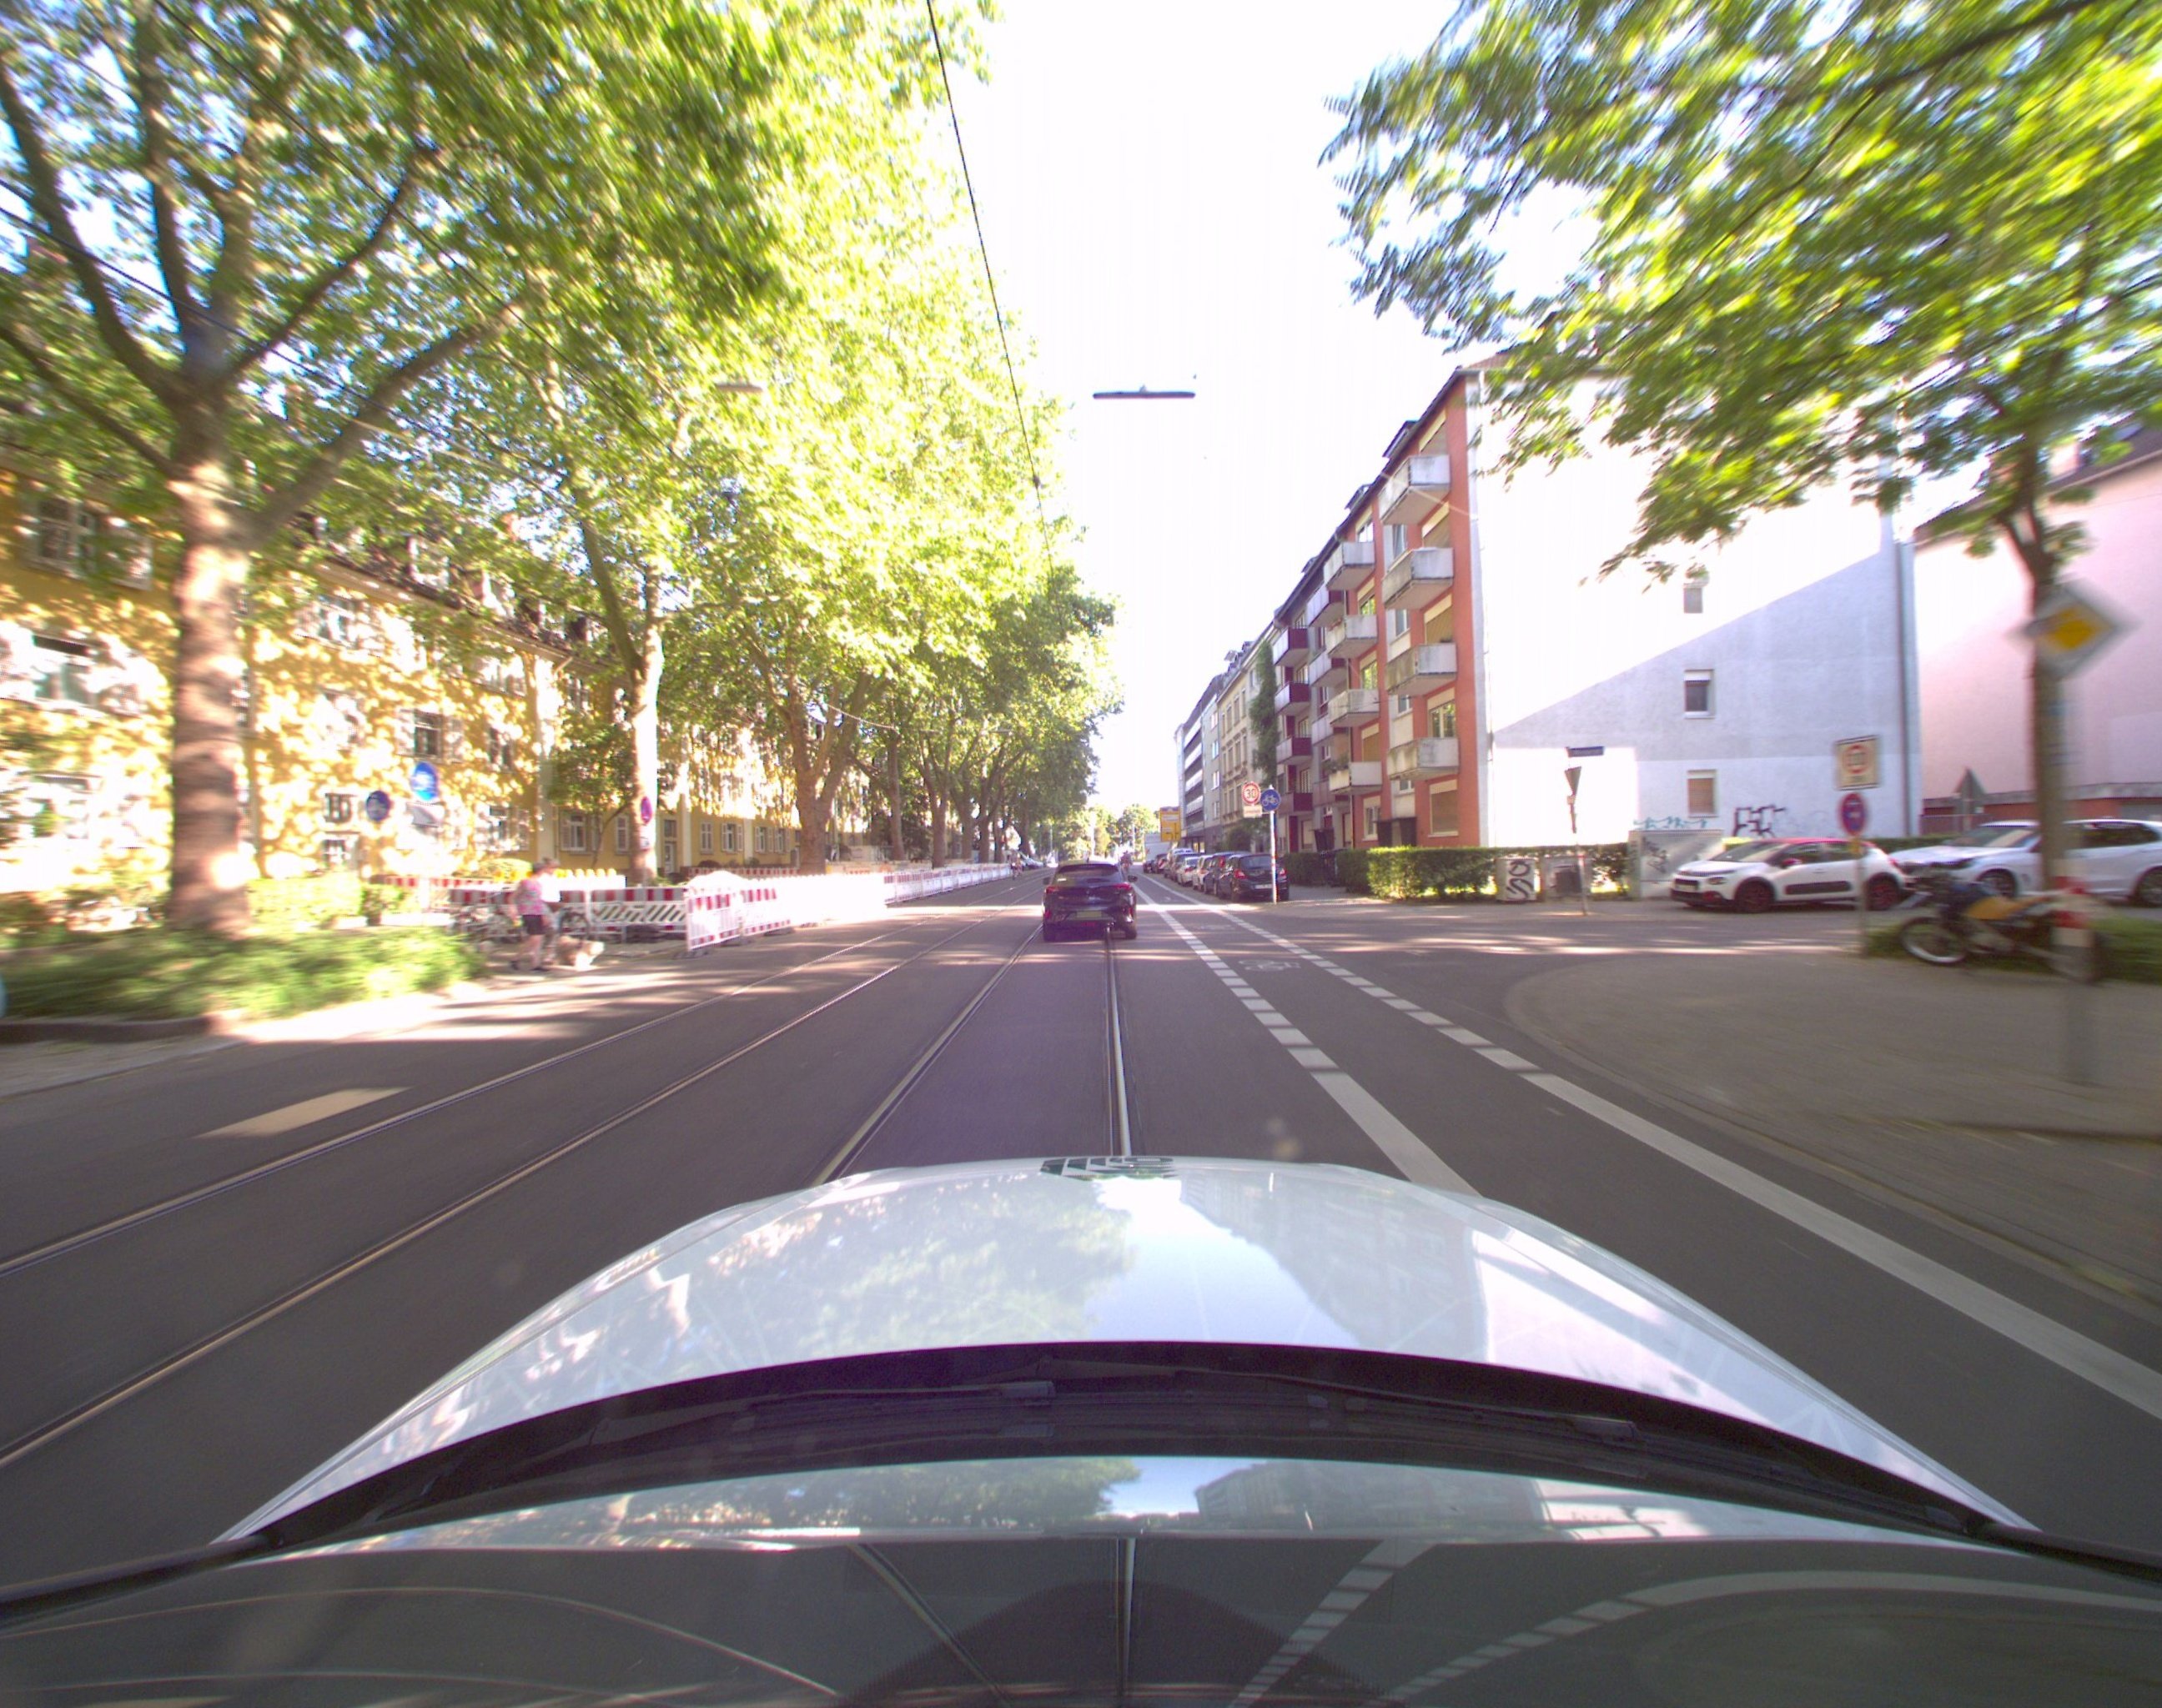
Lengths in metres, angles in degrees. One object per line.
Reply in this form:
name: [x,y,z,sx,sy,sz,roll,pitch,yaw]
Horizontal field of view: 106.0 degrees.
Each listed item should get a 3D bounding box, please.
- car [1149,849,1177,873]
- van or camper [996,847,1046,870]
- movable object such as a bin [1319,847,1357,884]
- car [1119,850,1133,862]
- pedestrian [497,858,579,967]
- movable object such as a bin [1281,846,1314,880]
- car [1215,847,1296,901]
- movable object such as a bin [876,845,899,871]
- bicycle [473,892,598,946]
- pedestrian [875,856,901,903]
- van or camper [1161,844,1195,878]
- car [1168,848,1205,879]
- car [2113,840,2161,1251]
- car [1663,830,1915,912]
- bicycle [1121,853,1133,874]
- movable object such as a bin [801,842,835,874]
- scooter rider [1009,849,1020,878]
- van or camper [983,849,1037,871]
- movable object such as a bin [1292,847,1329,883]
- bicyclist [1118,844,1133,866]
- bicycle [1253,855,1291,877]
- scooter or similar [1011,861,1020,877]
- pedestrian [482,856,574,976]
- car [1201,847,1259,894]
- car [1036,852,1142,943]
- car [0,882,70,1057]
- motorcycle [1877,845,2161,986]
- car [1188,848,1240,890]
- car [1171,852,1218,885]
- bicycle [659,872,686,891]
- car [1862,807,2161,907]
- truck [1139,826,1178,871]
car: [6.094,0.517,60.893,1.724,1.557,4.153,-4,0,2]
van or camper: [-7.203,0.515,97.494,5.702,2.644,2.270,-1,-1,1]
movable object such as a bin: [9.395,0.407,29.755,1.148,1.327,0.775,-1,-1,1]
car: [6.986,0.248,126.153,1.986,1.695,4.741,-4,0,1]
pedestrian: [-9.004,0.943,13.536,0.819,1.745,0.797,-1,-1,1]
movable object such as a bin: [8.739,0.342,32.898,0.920,1.327,1.682,-1,0,2]
car: [5.382,0.581,25.565,1.727,1.462,3.917,-4,0,1]
movable object such as a bin: [-12.576,0.237,53.014,1.093,1.645,1.560,-1,-1,1]
bicycle: [-10.759,1.271,16.103,1.964,0.962,0.726,-2,0,2]
pedestrian: [-6.973,0.920,29.440,0.714,1.669,0.779,-1,-1,2]
van or camper: [5.865,0.406,49.522,1.662,1.883,4.213,-3,0,2]
car: [5.750,0.503,44.690,1.653,1.580,3.590,-3,0,2]
car: [4.656,0.669,1.015,1.699,1.473,4.001,-2,0,1]
car: [14.574,0.314,16.916,3.901,1.482,1.561,-2,3,0]
bicycle: [3.548,0.713,62.769,0.912,1.561,3.408,-1,0,4]
movable object such as a bin: [-15.688,0.249,48.685,1.328,1.868,2.008,-1,0,1]
scooter rider: [-4.536,0.665,55.674,0.647,1.957,0.624,-1,-1,2]
van or camper: [-7.659,0.652,88.144,5.476,2.379,2.272,-1,-1,5]
movable object such as a bin: [8.732,0.400,31.100,0.963,1.327,1.722,-1,0,2]
bicyclist: [3.448,0.091,62.748,1.084,1.647,1.402,-1,0,3]
bicycle: [10.232,0.633,43.752,1.884,1.029,0.477,-4,0,6]
scooter or similar: [-4.470,1.018,55.726,0.406,1.083,1.339,-1,0,2]
pedestrian: [-8.348,0.909,12.323,0.819,1.745,0.797,-1,-1,1]
car: [5.357,0.572,29.635,1.520,1.590,3.754,-1,0,2]
car: [0.181,0.731,15.810,1.775,1.496,4.001,-1,0,1]
car: [-11.362,1.090,6.668,3.833,1.498,1.863,-2,0,1]
motorcycle: [9.878,0.581,8.729,0.674,1.298,2.262,-2,-1,7]
car: [5.446,0.608,33.761,1.585,1.526,3.837,-4,0,2]
car: [5.480,0.653,39.846,1.653,1.399,4.741,-4,0,1]
bicycle: [-19.302,1.299,38.490,0.505,0.818,1.642,-2,0,-2]
car: [19.440,0.010,16.786,4.701,1.792,2.008,-2,3,3]
truck: [6.266,-0.396,66.861,2.528,3.338,7.198,-4,0,2]
